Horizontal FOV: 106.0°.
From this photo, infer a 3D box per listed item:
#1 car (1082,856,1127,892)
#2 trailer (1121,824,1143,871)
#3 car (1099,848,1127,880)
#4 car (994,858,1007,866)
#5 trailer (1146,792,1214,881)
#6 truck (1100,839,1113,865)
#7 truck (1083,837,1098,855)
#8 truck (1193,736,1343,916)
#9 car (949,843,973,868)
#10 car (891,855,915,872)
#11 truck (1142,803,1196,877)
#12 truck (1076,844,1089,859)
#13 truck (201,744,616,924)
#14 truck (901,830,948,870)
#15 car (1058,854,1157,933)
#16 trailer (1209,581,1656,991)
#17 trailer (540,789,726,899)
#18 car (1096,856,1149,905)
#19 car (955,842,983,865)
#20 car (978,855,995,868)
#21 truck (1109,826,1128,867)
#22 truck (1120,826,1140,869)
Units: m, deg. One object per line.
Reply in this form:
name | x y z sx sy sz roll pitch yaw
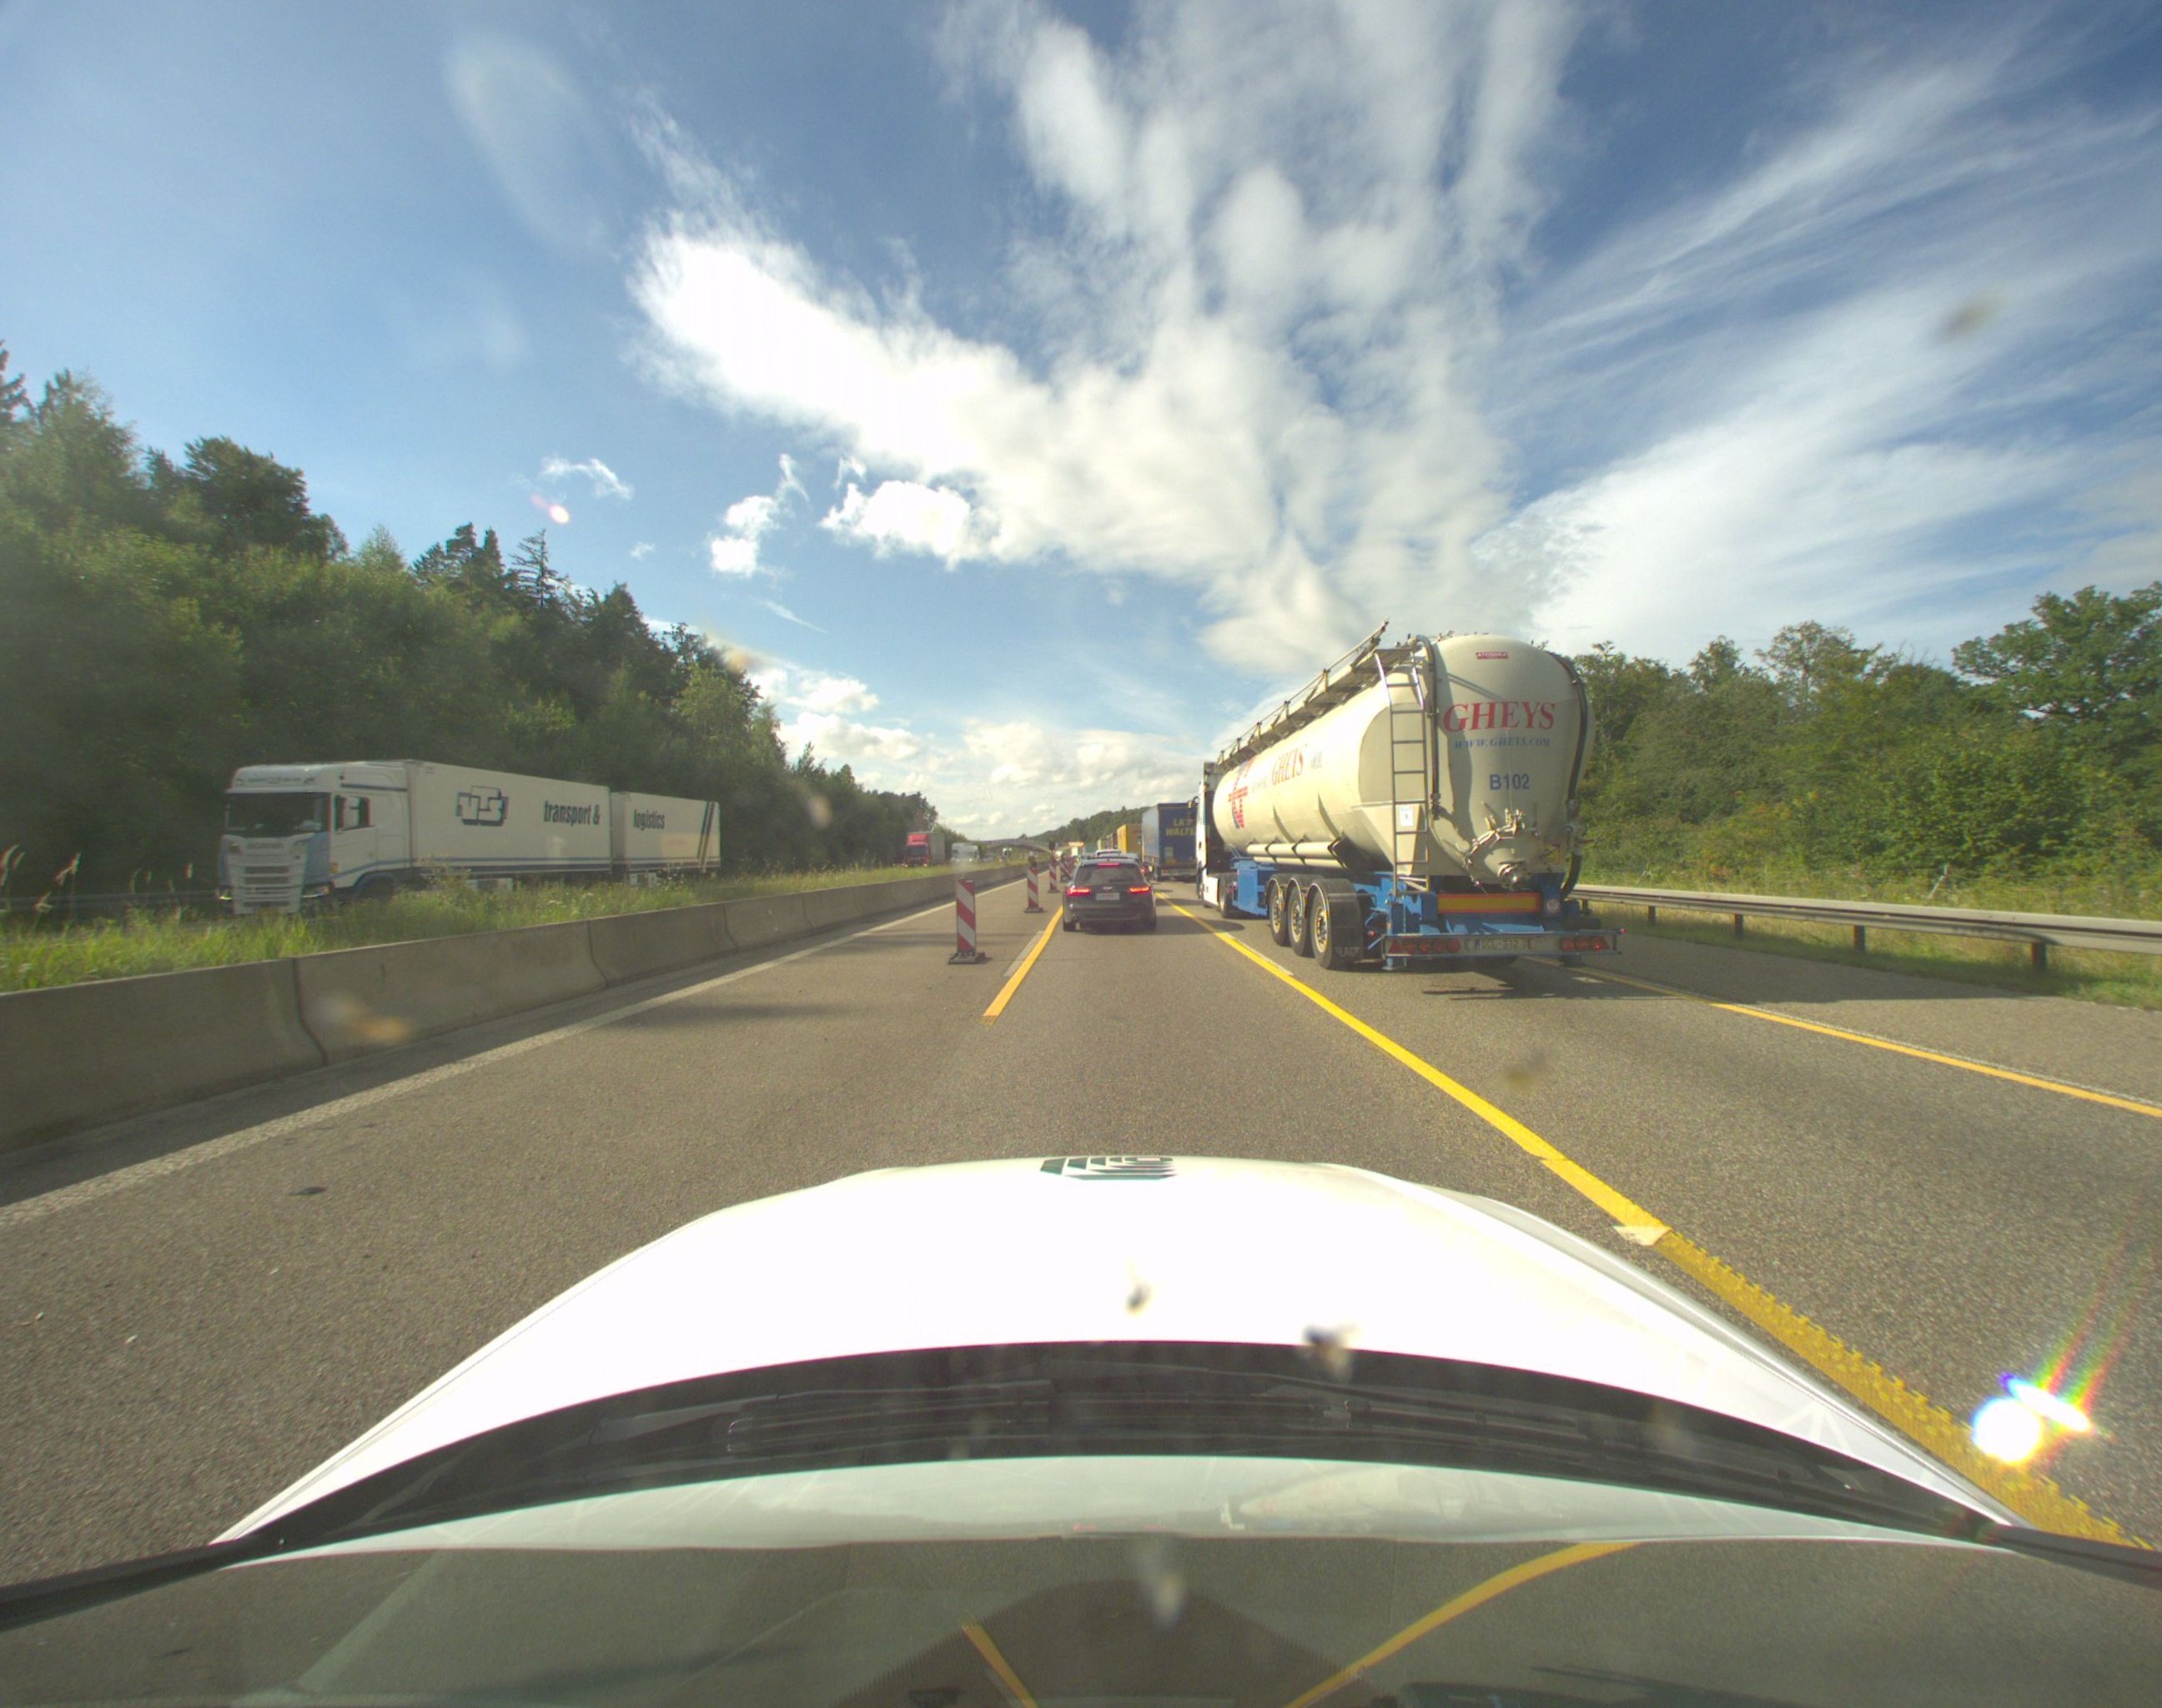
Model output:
car | 0.967 0.792 33.756 1.745 1.397 3.609 0 -1 1
trailer | 4.397 -0.490 70.980 1.611 3.918 6.489 0 -1 1
car | 1.830 0.578 47.572 1.575 1.837 3.112 0 -1 1
car | -14.818 1.451 150.176 1.772 1.387 4.312 0 -1 2
trailer | 5.294 -0.830 45.486 2.795 4.413 10.435 0 -1 1
truck | 4.261 -0.349 137.072 2.130 4.257 7.072 0 -1 1
truck | 2.274 -1.917 200.047 3.294 4.175 9.699 -1 0 0
truck | 4.534 -0.605 20.947 2.649 3.972 5.780 0 -1 1
car | -16.948 0.259 115.244 2.481 3.370 7.445 0 -1 -2
car | -21.439 1.133 98.186 1.986 2.014 4.001 0 -1 1
truck | 5.471 -0.803 51.927 2.796 4.370 7.793 0 -1 1
truck | 0.447 -0.701 230.399 3.295 4.175 9.696 -1 0 -2
truck | -18.076 -0.399 23.559 2.772 3.985 10.864 0 -1 1
truck | -16.615 -0.372 87.185 2.790 3.992 10.189 -1 0 2
car | 0.552 0.758 17.242 1.842 1.463 4.001 -1 -1 1
trailer | 4.373 -0.640 14.167 2.634 3.943 12.601 0 0 1
trailer | -17.831 -0.330 33.301 2.781 3.923 8.490 0 -1 1
car | 1.261 0.791 25.437 1.518 1.439 3.286 0 -1 1
car | -12.933 -0.059 94.397 2.152 2.451 6.334 -1 0 2
car | -13.538 1.141 116.966 1.937 1.813 4.120 0 -1 2
truck | 4.724 -0.878 103.712 1.987 4.914 9.561 0 0 0
truck | 4.451 -0.576 74.849 1.604 3.897 4.072 0 -1 1
